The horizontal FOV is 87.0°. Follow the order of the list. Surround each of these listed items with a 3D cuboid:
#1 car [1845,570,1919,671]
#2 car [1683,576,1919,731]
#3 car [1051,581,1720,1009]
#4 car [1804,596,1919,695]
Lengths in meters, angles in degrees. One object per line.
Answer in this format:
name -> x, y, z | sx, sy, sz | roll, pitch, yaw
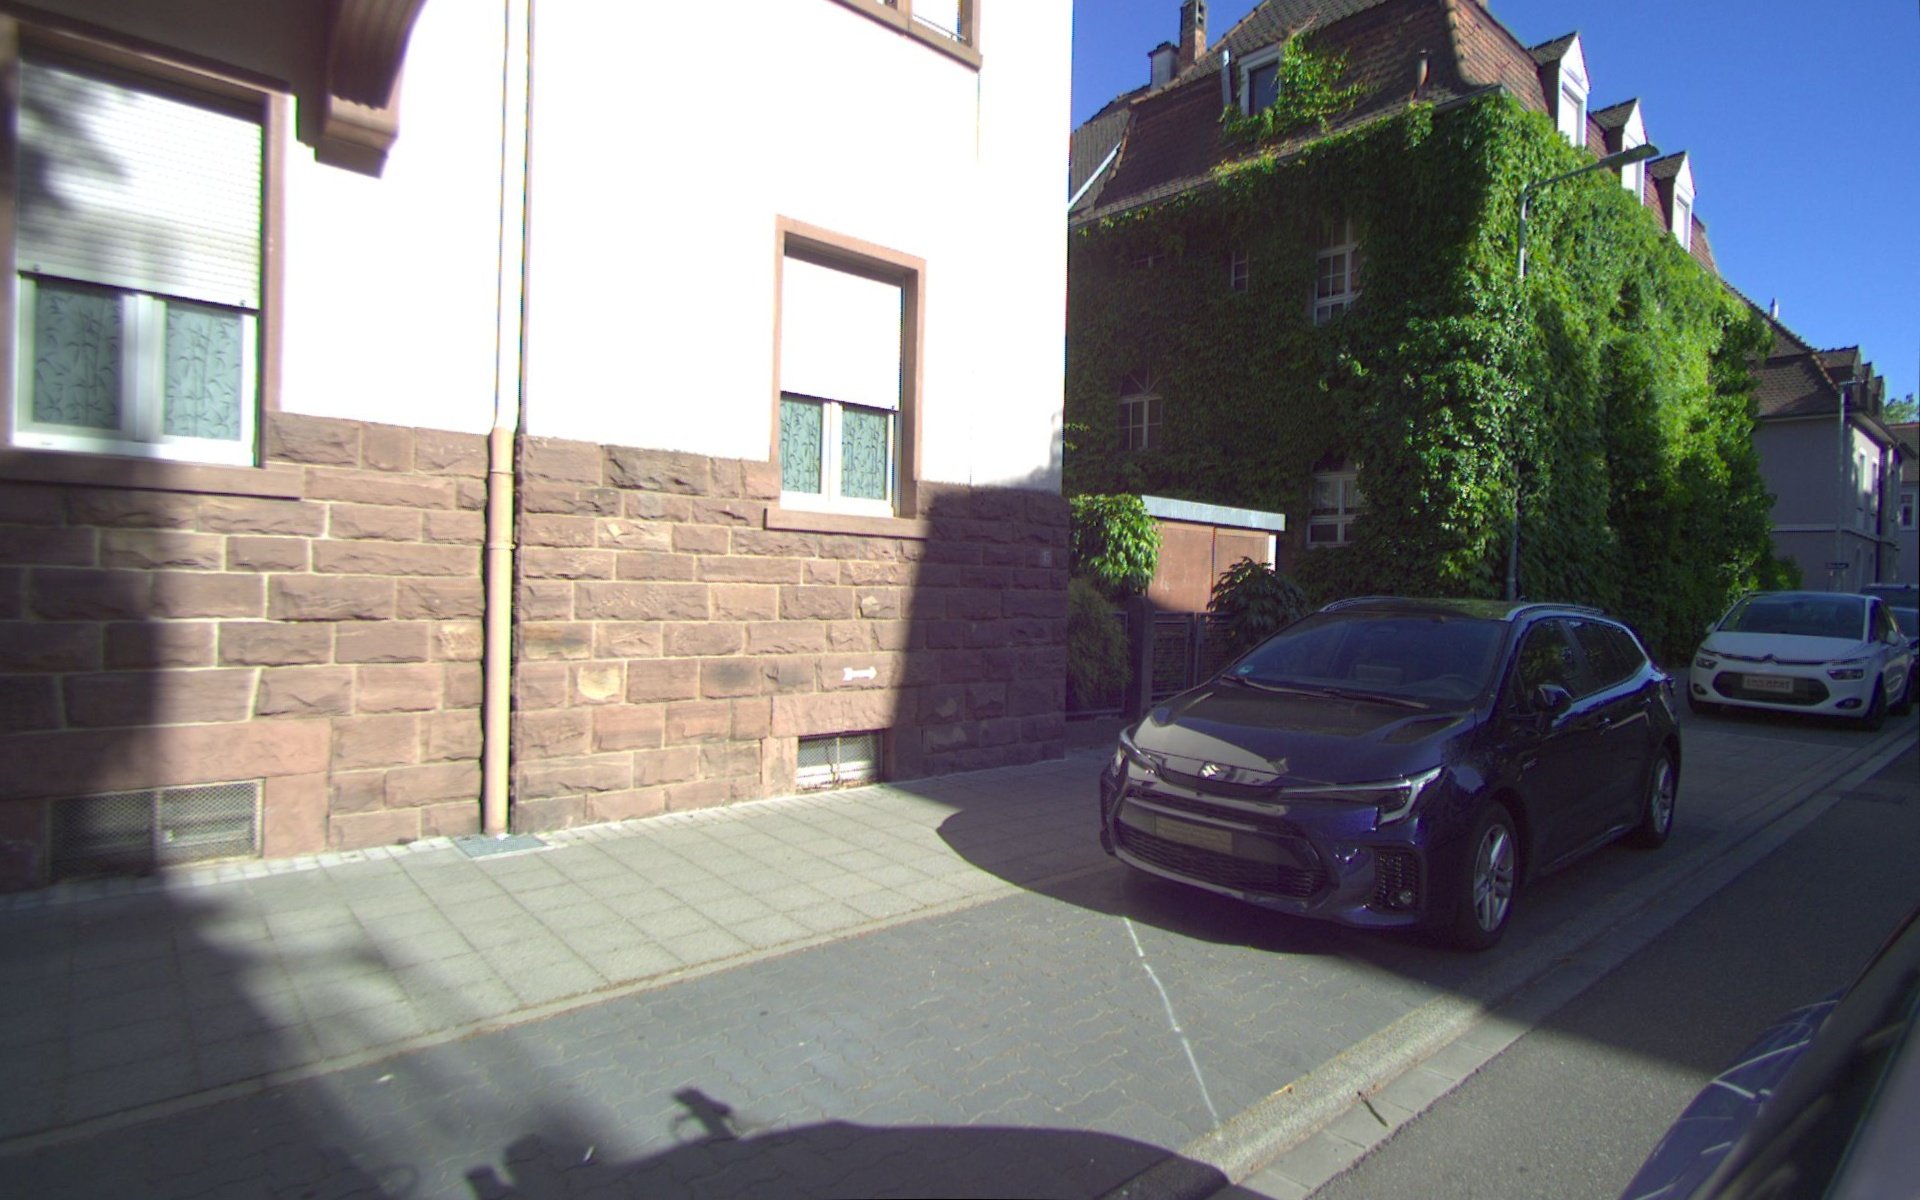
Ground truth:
car -> 20.248, 0.408, 21.253 | 4.766, 1.932, 1.856 | 0, 1, -41
car -> 11.131, 0.571, 13.147 | 4.125, 1.665, 1.871 | 0, 2, -41
car -> 2.626, 0.664, 5.585 | 4.424, 1.472, 1.646 | 0, 1, -41
car -> 15.614, 0.697, 16.976 | 3.939, 1.439, 1.640 | 0, 2, -42
